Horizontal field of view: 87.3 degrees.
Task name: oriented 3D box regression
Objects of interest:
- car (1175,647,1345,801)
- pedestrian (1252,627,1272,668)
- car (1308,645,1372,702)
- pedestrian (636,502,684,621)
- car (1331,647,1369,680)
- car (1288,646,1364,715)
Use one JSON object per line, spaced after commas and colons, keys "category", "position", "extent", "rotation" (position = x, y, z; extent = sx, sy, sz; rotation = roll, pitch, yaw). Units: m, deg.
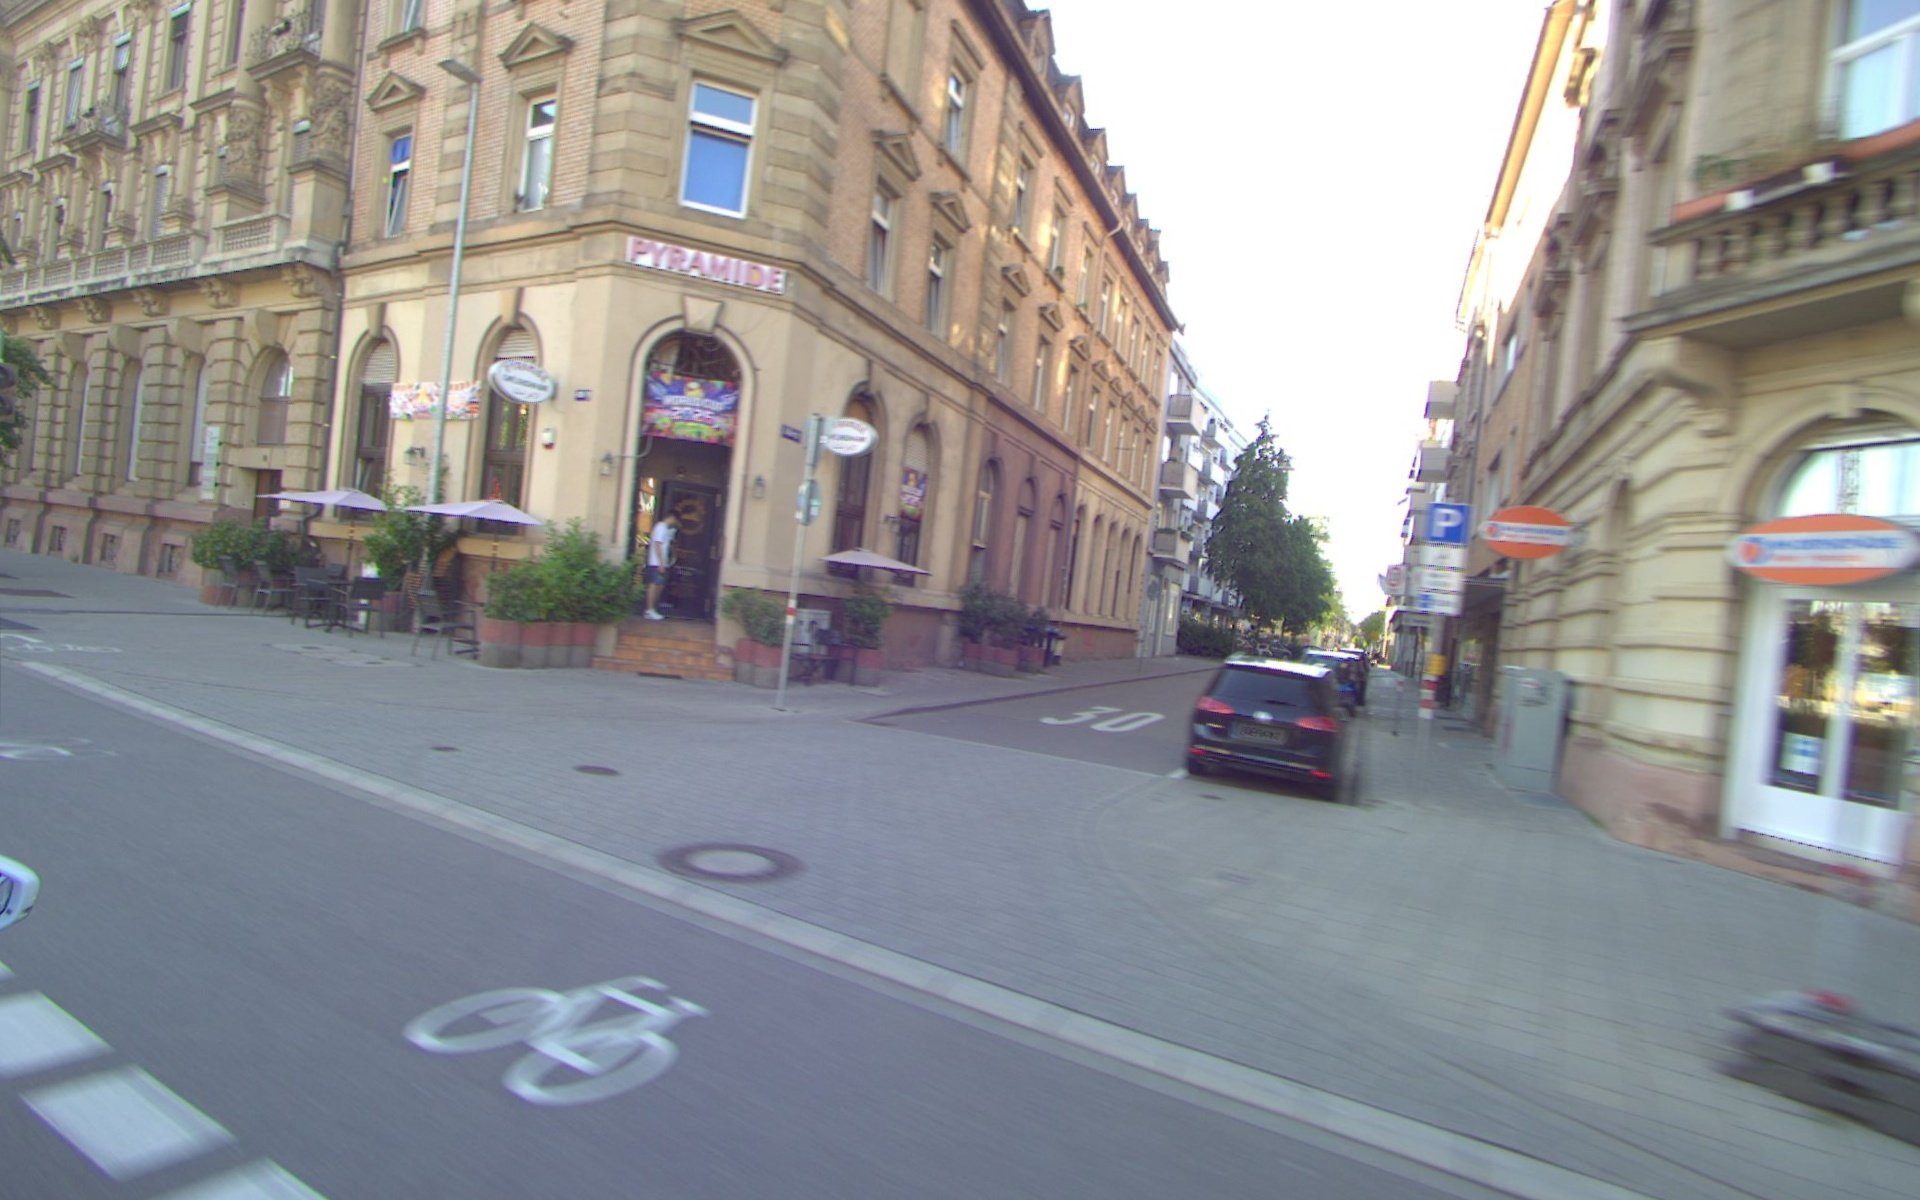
{"category": "car", "position": [3.819, 1.367, 12.483], "extent": [1.588, 1.405, 4.153], "rotation": [5, 0, 20]}
{"category": "pedestrian", "position": [15.852, 2.500, 52.820], "extent": [0.604, 2.040, 0.962], "rotation": [7, 2, 31]}
{"category": "car", "position": [11.534, 2.185, 30.655], "extent": [1.588, 1.439, 3.283], "rotation": [7, 0, 20]}
{"category": "pedestrian", "position": [-4.620, -0.585, 15.481], "extent": [0.443, 1.762, 0.538], "rotation": [6, 1, -31]}
{"category": "car", "position": [20.039, 3.235, 51.743], "extent": [1.588, 1.439, 3.511], "rotation": [7, 0, 20]}
{"category": "car", "position": [9.386, 2.006, 25.845], "extent": [1.588, 1.439, 3.511], "rotation": [7, 0, 20]}
